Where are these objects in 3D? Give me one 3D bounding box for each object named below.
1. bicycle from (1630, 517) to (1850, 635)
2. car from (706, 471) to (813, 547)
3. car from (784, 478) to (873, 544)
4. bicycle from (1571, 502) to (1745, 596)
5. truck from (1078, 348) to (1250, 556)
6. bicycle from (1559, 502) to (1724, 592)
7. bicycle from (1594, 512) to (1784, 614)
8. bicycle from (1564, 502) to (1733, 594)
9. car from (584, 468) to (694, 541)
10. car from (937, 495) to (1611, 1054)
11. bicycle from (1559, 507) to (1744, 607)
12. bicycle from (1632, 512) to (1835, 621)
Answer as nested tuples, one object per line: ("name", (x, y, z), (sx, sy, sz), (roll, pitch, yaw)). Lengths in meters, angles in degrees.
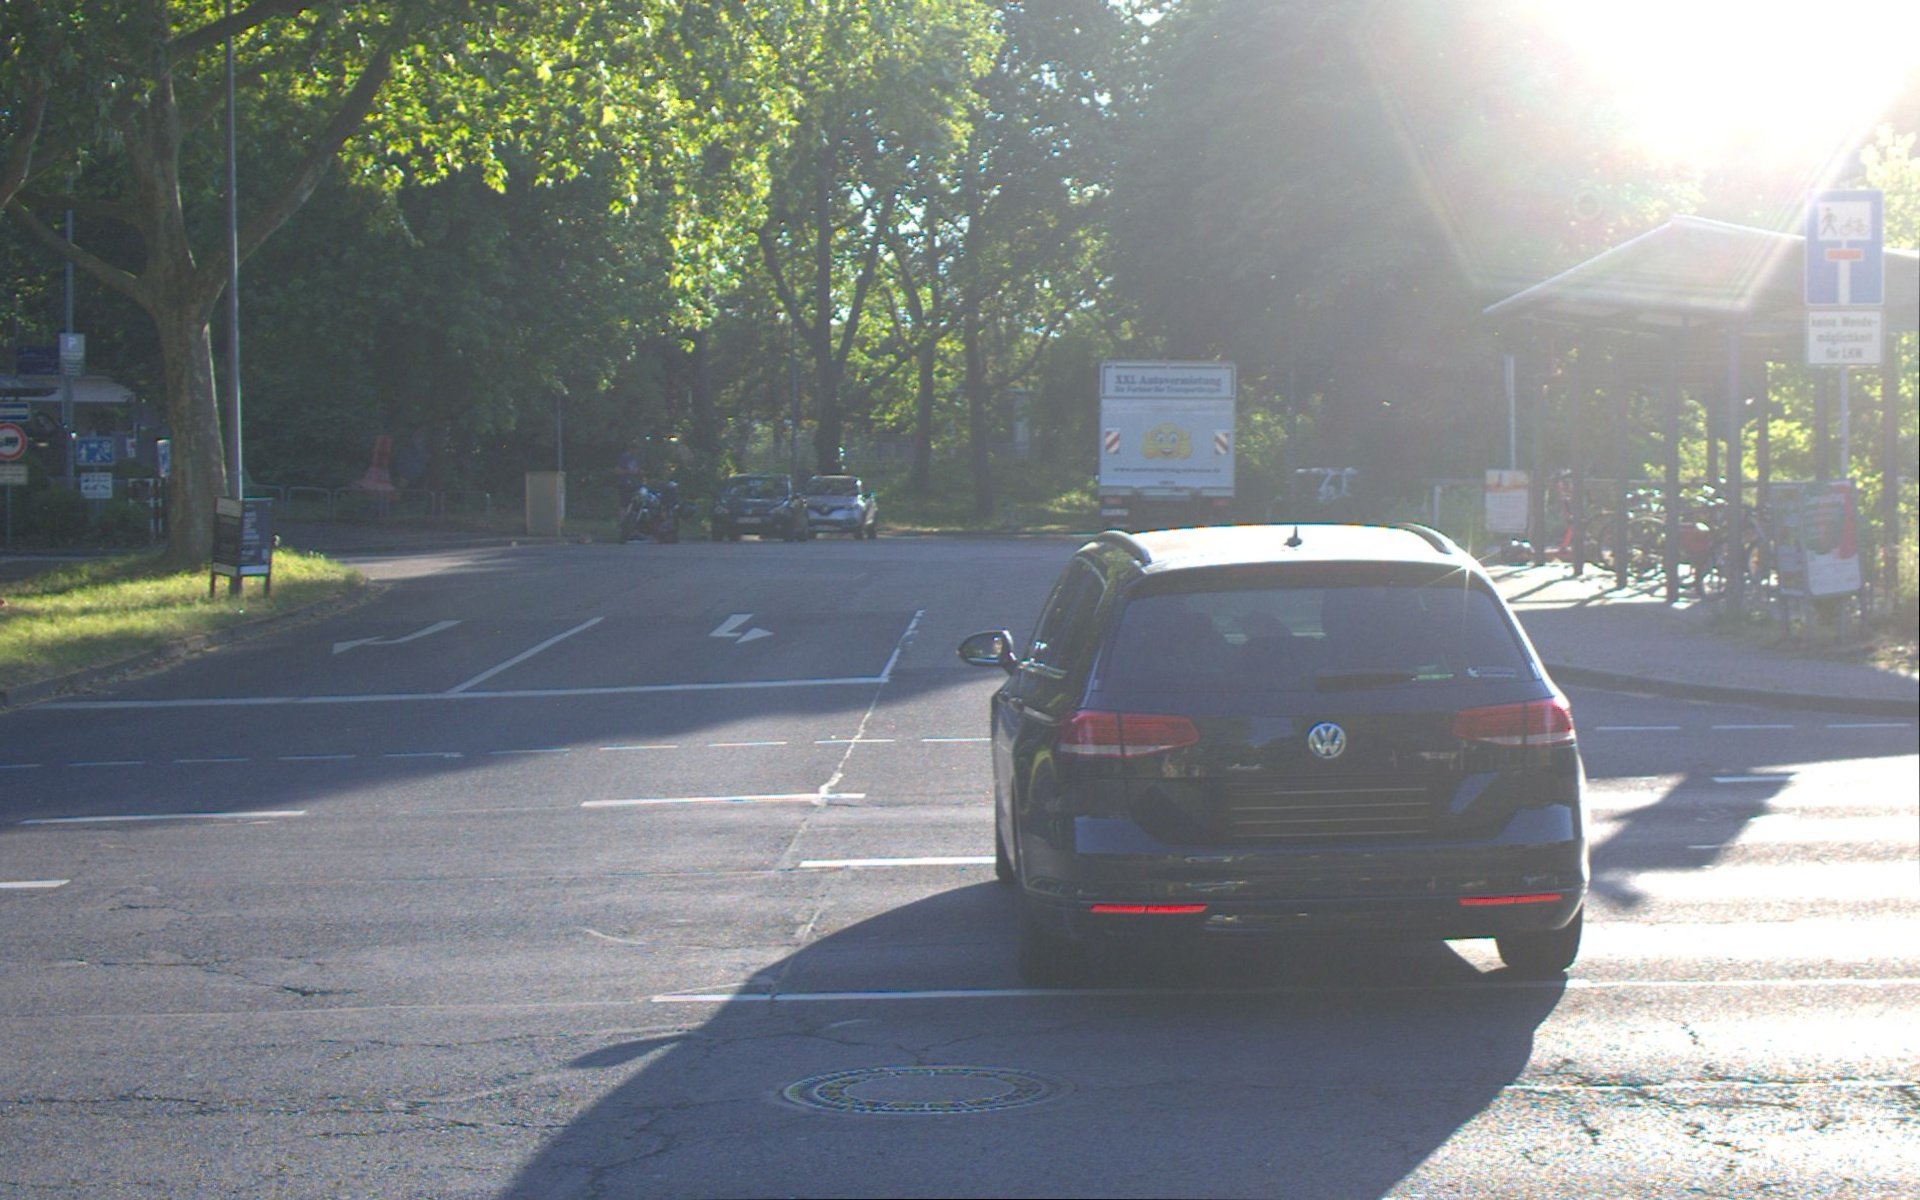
("bicycle", (7.094, -0.221, 31.308), (1.887, 1.034, 0.544), (-1, 2, 3))
("car", (-4.254, -1.965, 73.472), (1.846, 1.546, 4.000), (0, 2, 3))
("car", (-3.230, -2.215, 85.178), (1.846, 1.546, 4.000), (0, 2, 3))
("bicycle", (7.937, -0.579, 39.138), (1.888, 1.034, 0.544), (-1, 2, 6))
("truck", (4.219, -3.004, 69.765), (3.185, 3.862, 11.099), (0, 2, 4))
("bicycle", (8.182, -0.639, 41.328), (1.888, 1.034, 0.544), (-1, 2, 6))
("bicycle", (7.694, -0.397, 36.306), (1.887, 1.034, 0.544), (-1, 2, 3))
("bicycle", (8.006, -0.608, 40.019), (1.888, 1.034, 0.544), (-1, 2, 6))
("car", (-7.049, -2.132, 75.841), (1.846, 1.546, 4.000), (0, 2, 3))
("car", (0.901, 0.440, 12.089), (1.824, 1.550, 4.259), (-1, 2, -2))
("bicycle", (7.472, -0.470, 37.171), (1.887, 1.034, 0.544), (-1, 2, 3))
("bicycle", (7.658, -0.334, 34.069), (1.887, 1.034, 0.544), (-1, 2, 3))
